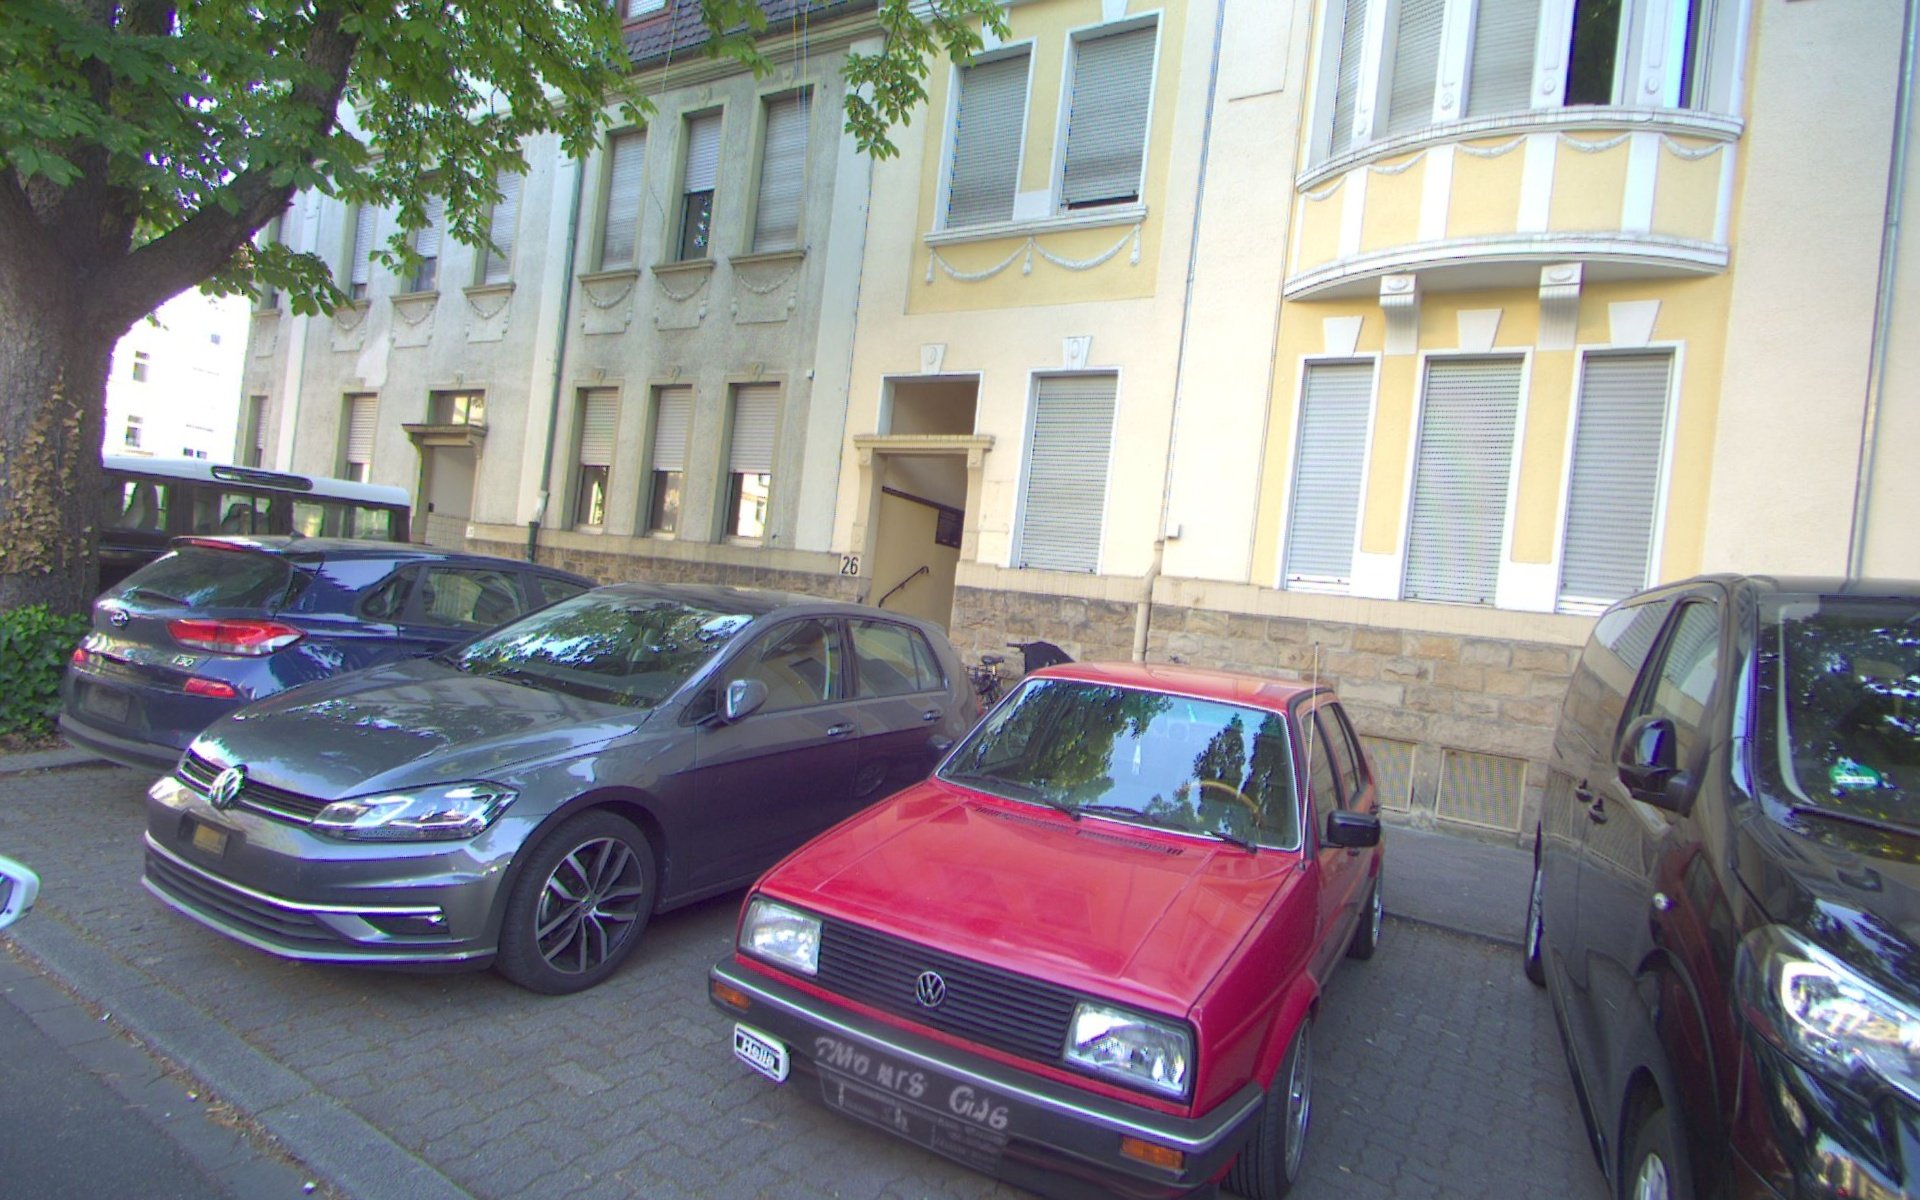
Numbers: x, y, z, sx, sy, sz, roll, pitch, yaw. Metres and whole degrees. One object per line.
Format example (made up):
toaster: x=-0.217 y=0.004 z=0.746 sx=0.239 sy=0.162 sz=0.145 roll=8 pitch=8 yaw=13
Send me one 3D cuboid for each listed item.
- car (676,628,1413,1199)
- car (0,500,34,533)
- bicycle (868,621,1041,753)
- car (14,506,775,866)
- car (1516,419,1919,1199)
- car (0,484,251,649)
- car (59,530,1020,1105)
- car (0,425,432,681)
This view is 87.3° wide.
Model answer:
car: x=0.841 y=0.902 z=4.223 sx=1.532 sy=1.337 sz=3.916 roll=6 pitch=0 yaw=29
car: x=-36.377 y=-3.251 z=36.808 sx=1.357 sy=1.081 sz=3.370 roll=7 pitch=-1 yaw=30
bicycle: x=-0.075 y=0.864 z=10.382 sx=1.675 sy=1.090 sz=0.500 roll=7 pitch=2 yaw=31
car: x=-3.029 y=0.412 z=6.220 sx=1.600 sy=1.440 sz=3.754 roll=6 pitch=0 yaw=29
car: x=2.883 y=0.893 z=2.944 sx=1.848 sy=1.847 sz=4.829 roll=6 pitch=0 yaw=27
car: x=-9.989 y=-0.397 z=10.748 sx=1.680 sy=1.606 sz=3.488 roll=7 pitch=0 yaw=25
car: x=-1.358 y=0.643 z=4.811 sx=1.600 sy=1.440 sz=4.054 roll=6 pitch=0 yaw=29
car: x=-7.616 y=-0.388 z=9.309 sx=1.762 sy=1.981 sz=4.496 roll=7 pitch=1 yaw=29
